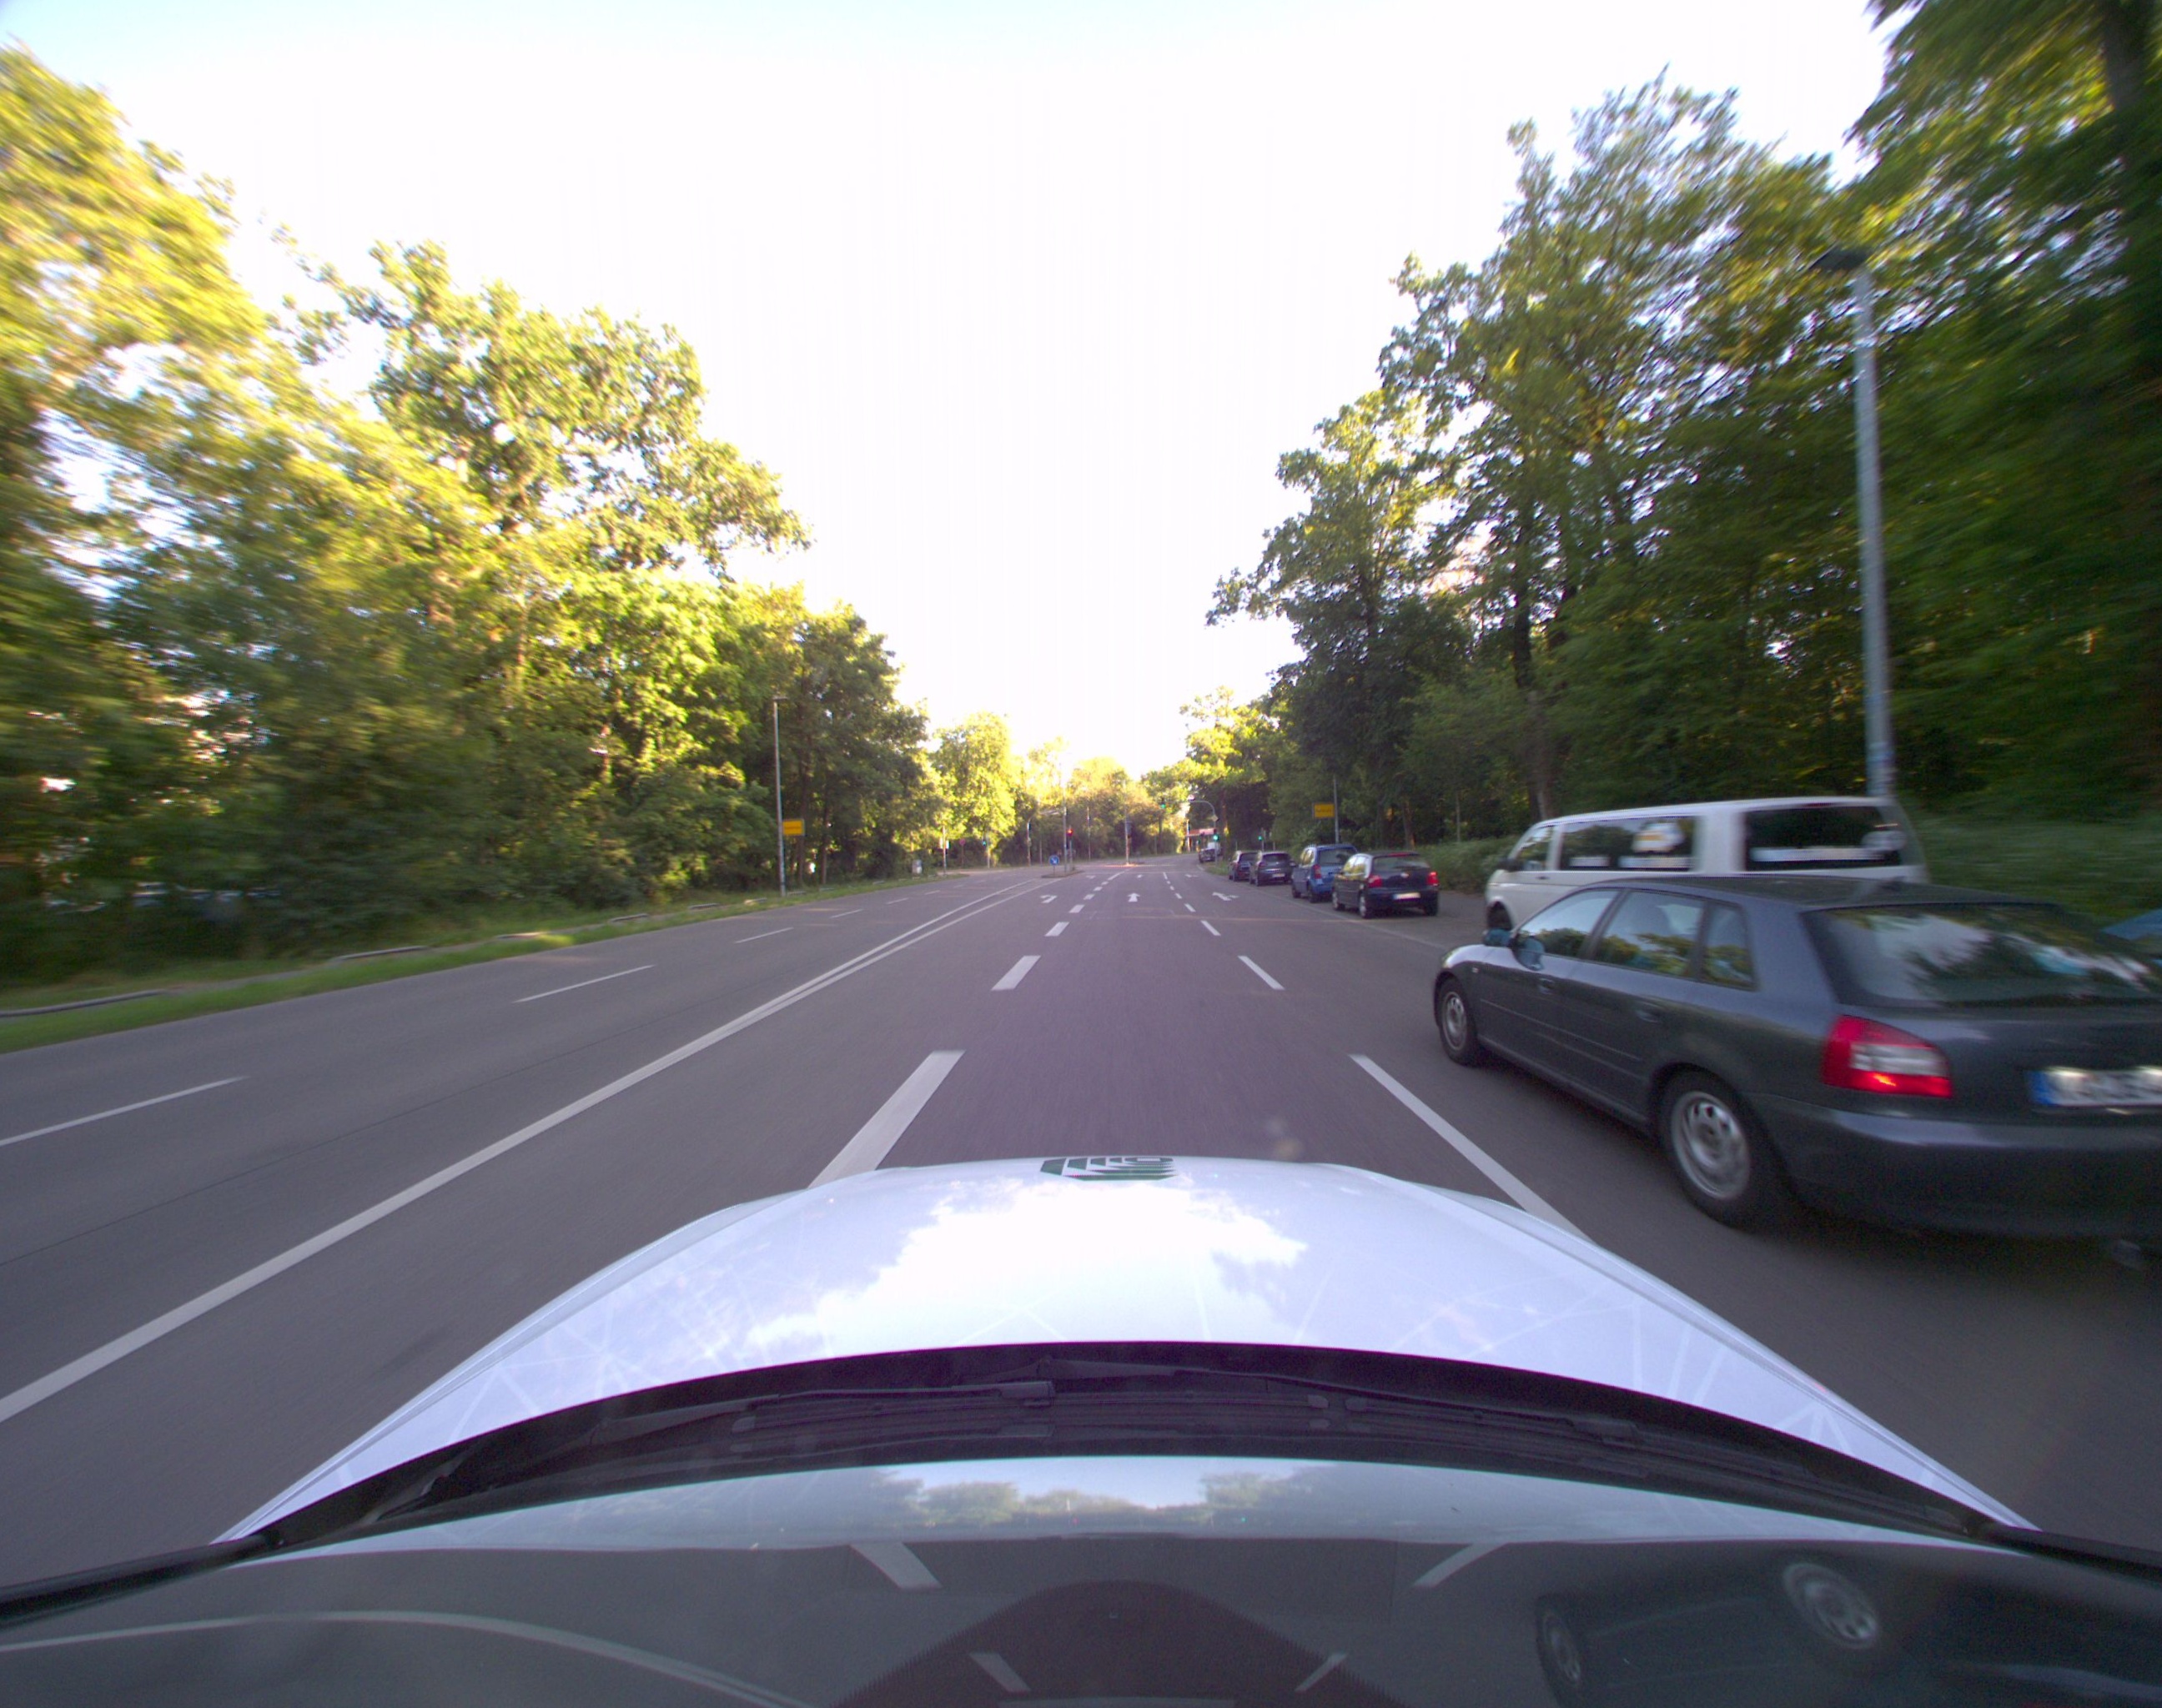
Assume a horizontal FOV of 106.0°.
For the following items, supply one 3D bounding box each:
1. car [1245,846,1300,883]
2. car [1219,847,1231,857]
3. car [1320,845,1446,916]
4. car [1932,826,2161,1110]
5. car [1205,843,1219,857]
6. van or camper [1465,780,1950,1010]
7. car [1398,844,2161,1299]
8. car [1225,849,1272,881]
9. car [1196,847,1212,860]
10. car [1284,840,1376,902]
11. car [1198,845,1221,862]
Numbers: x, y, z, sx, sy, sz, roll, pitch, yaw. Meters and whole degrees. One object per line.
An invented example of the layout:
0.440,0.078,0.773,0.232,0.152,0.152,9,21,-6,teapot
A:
8.272,0.410,35.474,1.720,1.490,4.094,-2,0,4,car
29.780,-0.460,168.386,1.984,1.904,4.006,-1,0,5,car
7.031,0.553,19.391,1.643,1.441,4.116,-2,0,3,car
6.609,0.597,3.615,1.642,1.522,3.867,-2,0,1,car
22.935,-0.779,142.802,2.295,2.335,4.570,-2,0,8,car
6.732,0.352,9.785,1.825,1.970,5.344,-1,0,2,van or camper
3.424,0.698,4.683,1.721,1.441,4.092,-2,0,2,car
8.380,0.522,40.976,1.720,1.461,4.172,-3,0,4,car
16.616,-0.055,109.969,1.982,1.618,4.010,-2,0,8,car
7.443,0.474,24.767,1.720,1.704,4.093,-2,0,3,car
13.847,-0.041,87.905,1.985,1.618,4.003,-4,0,3,car
